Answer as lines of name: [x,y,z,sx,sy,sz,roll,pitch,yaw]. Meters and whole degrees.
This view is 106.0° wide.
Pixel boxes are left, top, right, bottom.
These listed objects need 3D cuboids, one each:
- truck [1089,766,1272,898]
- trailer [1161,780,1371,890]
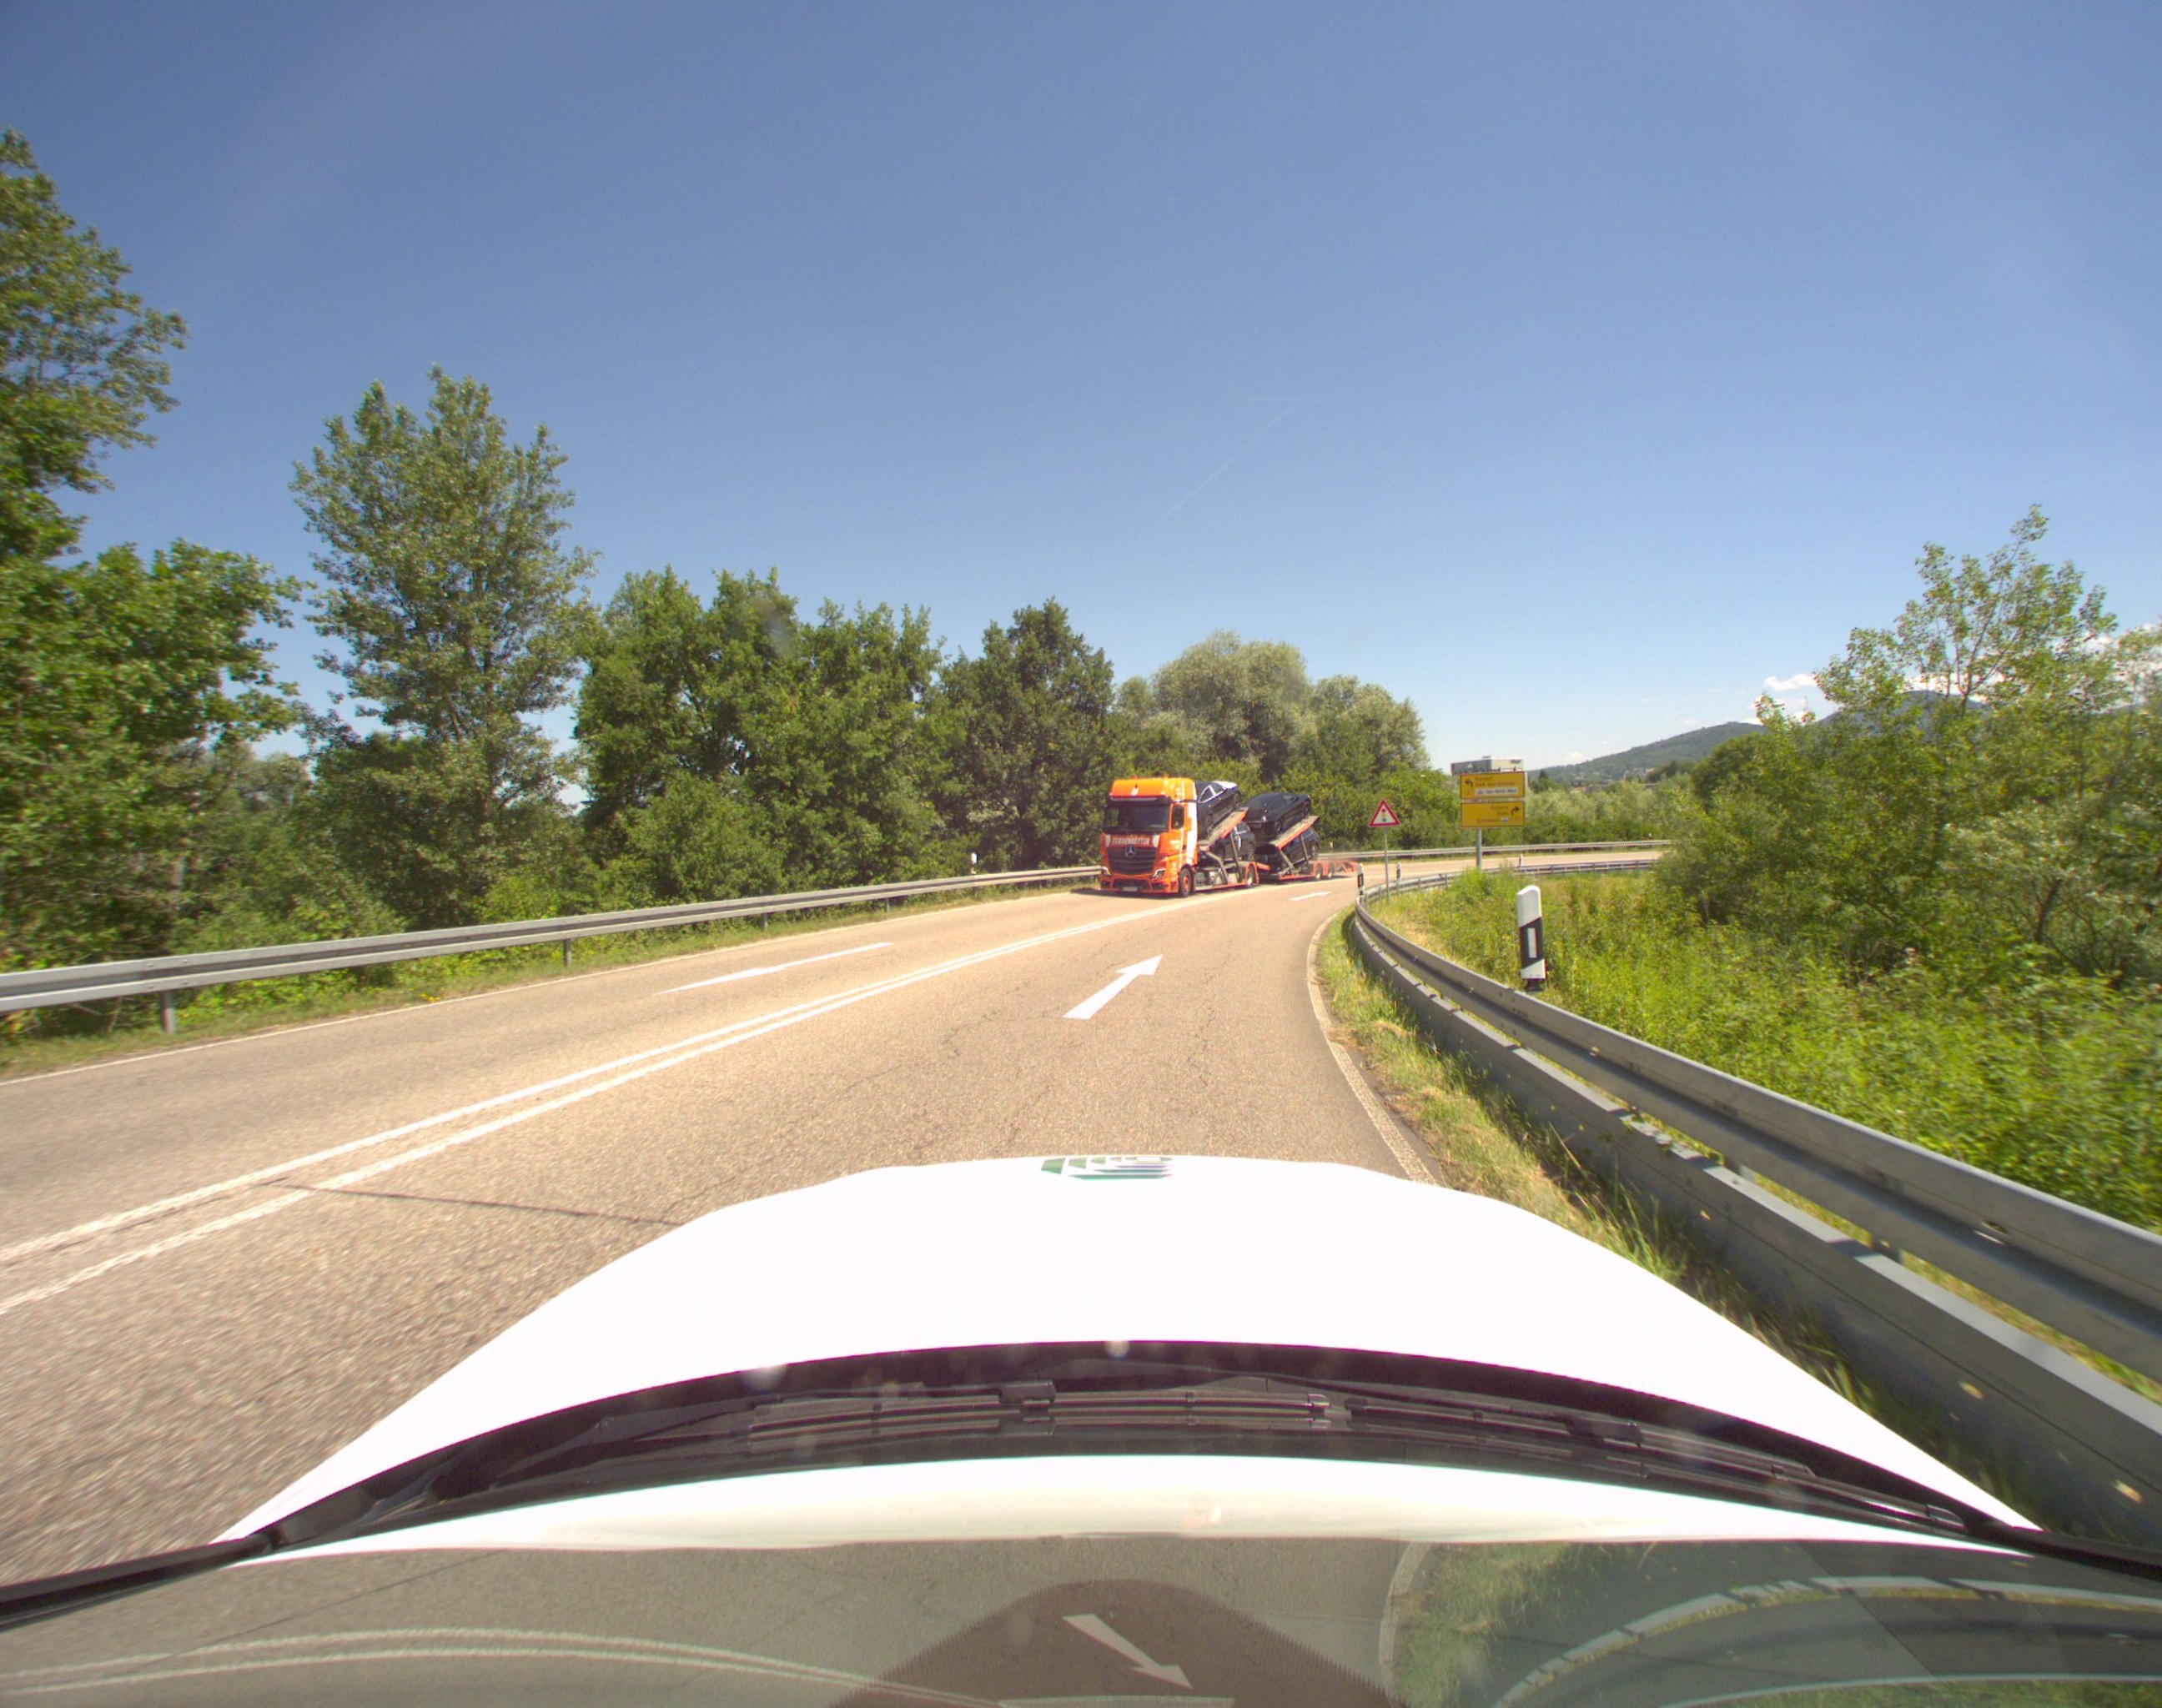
truck: [3.820,-0.706,28.554,2.763,3.898,8.835,1,1,33]
trailer: [8.547,-0.711,35.016,2.766,3.898,14.074,1,1,39]
